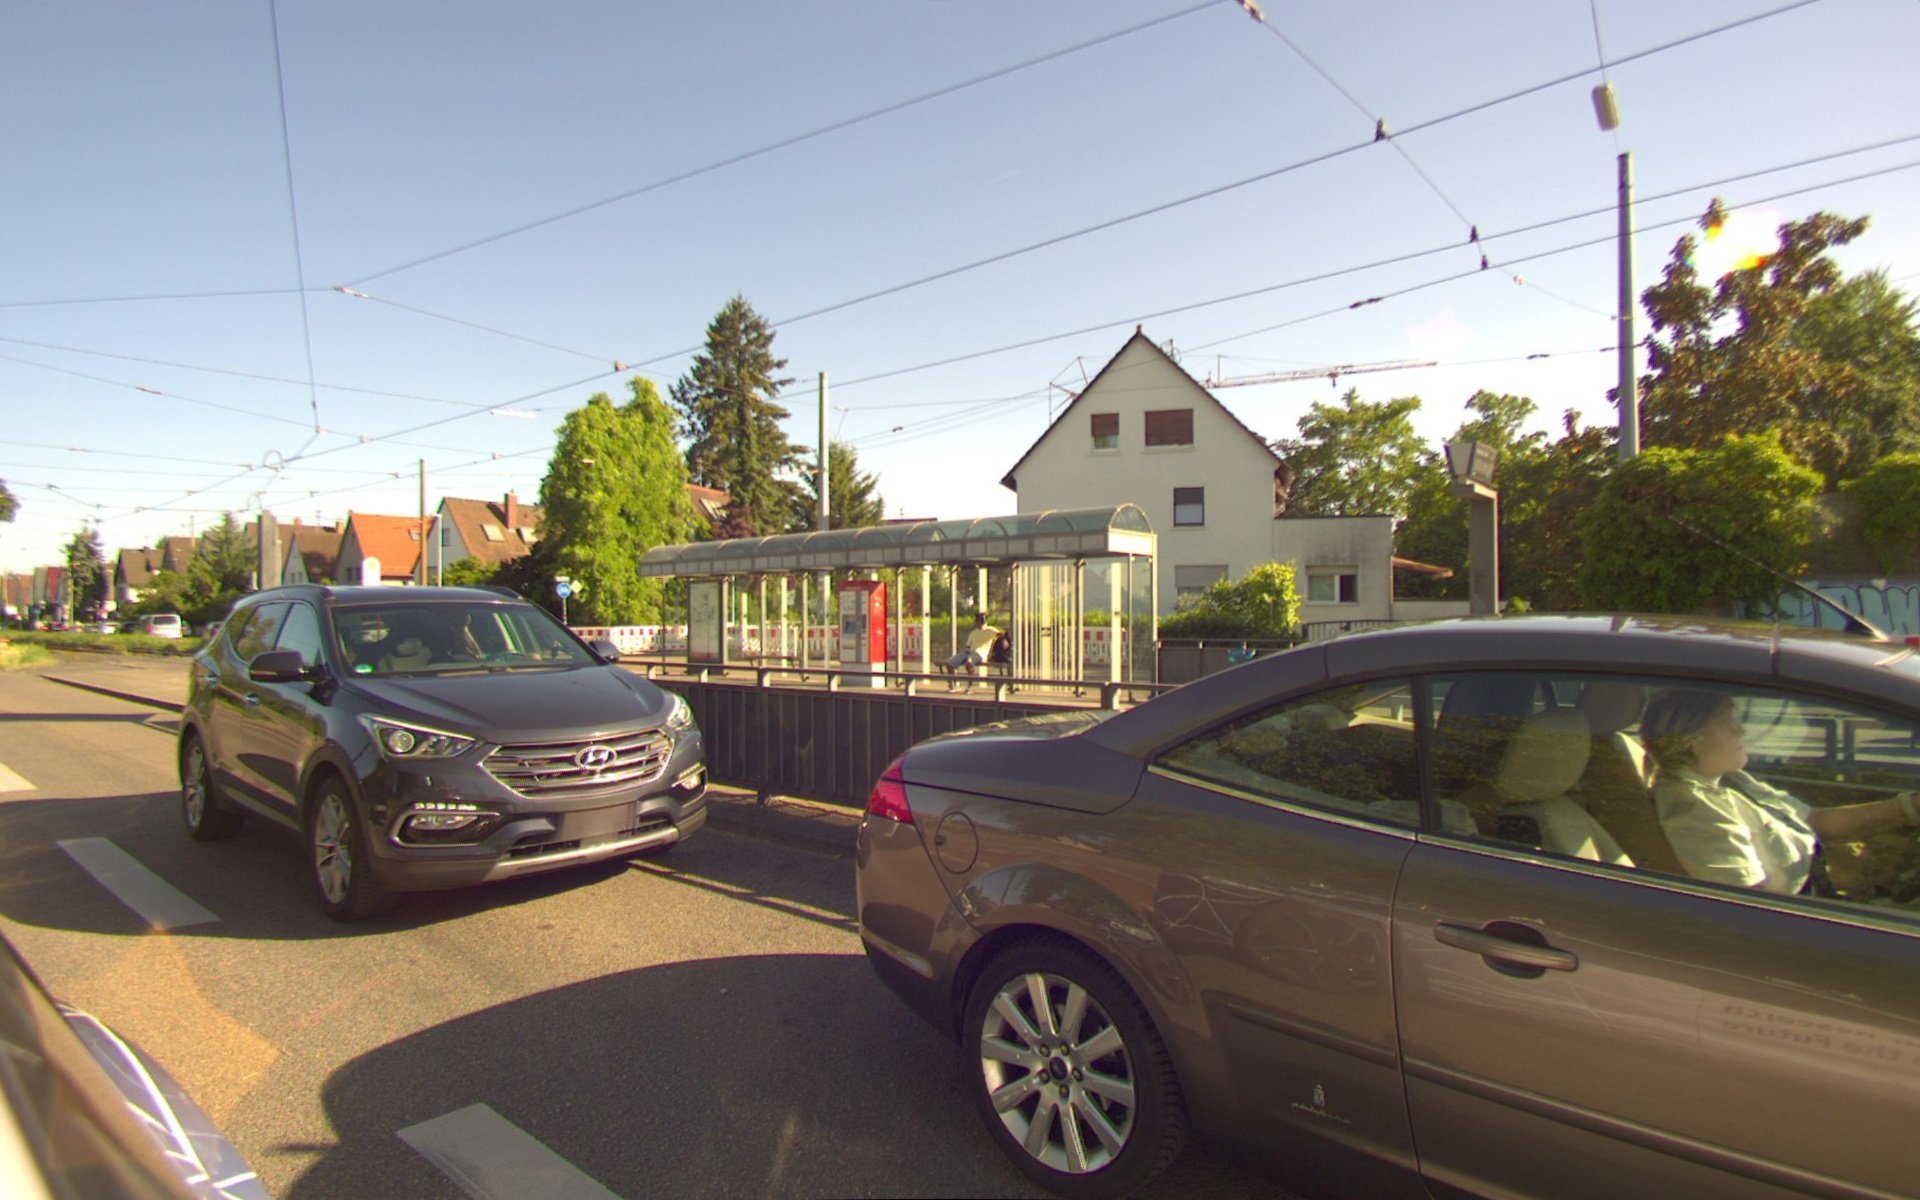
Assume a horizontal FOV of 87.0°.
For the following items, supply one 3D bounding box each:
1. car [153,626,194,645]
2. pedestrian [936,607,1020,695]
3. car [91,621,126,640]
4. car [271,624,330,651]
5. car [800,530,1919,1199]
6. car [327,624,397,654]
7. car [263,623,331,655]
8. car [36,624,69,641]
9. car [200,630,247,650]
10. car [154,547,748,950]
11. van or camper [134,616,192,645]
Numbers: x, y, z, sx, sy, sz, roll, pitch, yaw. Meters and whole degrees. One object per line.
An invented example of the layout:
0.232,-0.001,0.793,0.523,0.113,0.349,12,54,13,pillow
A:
-65.213,2.914,83.874,4.837,1.483,1.864,-2,0,42,car
0.316,0.876,17.516,1.006,1.464,1.050,-1,-3,40,pedestrian
-84.631,3.013,100.550,4.582,1.877,1.973,-2,-1,41,car
-40.478,2.273,62.094,4.438,1.477,1.887,-1,0,41,car
1.727,0.649,2.278,4.331,1.461,1.757,-2,-2,41,car
-32.985,2.118,55.805,4.610,1.483,1.865,-1,0,40,car
-31.615,1.849,48.214,4.014,1.413,1.588,0,-3,40,car
-85.501,3.051,95.347,4.341,1.532,1.717,-2,-2,41,car
-54.266,2.948,74.564,4.308,1.382,1.972,-2,-1,42,car
-3.336,0.662,6.215,4.285,1.642,1.757,-2,-2,41,car
-52.439,2.016,66.540,5.985,1.842,1.972,-2,-2,41,van or camper
